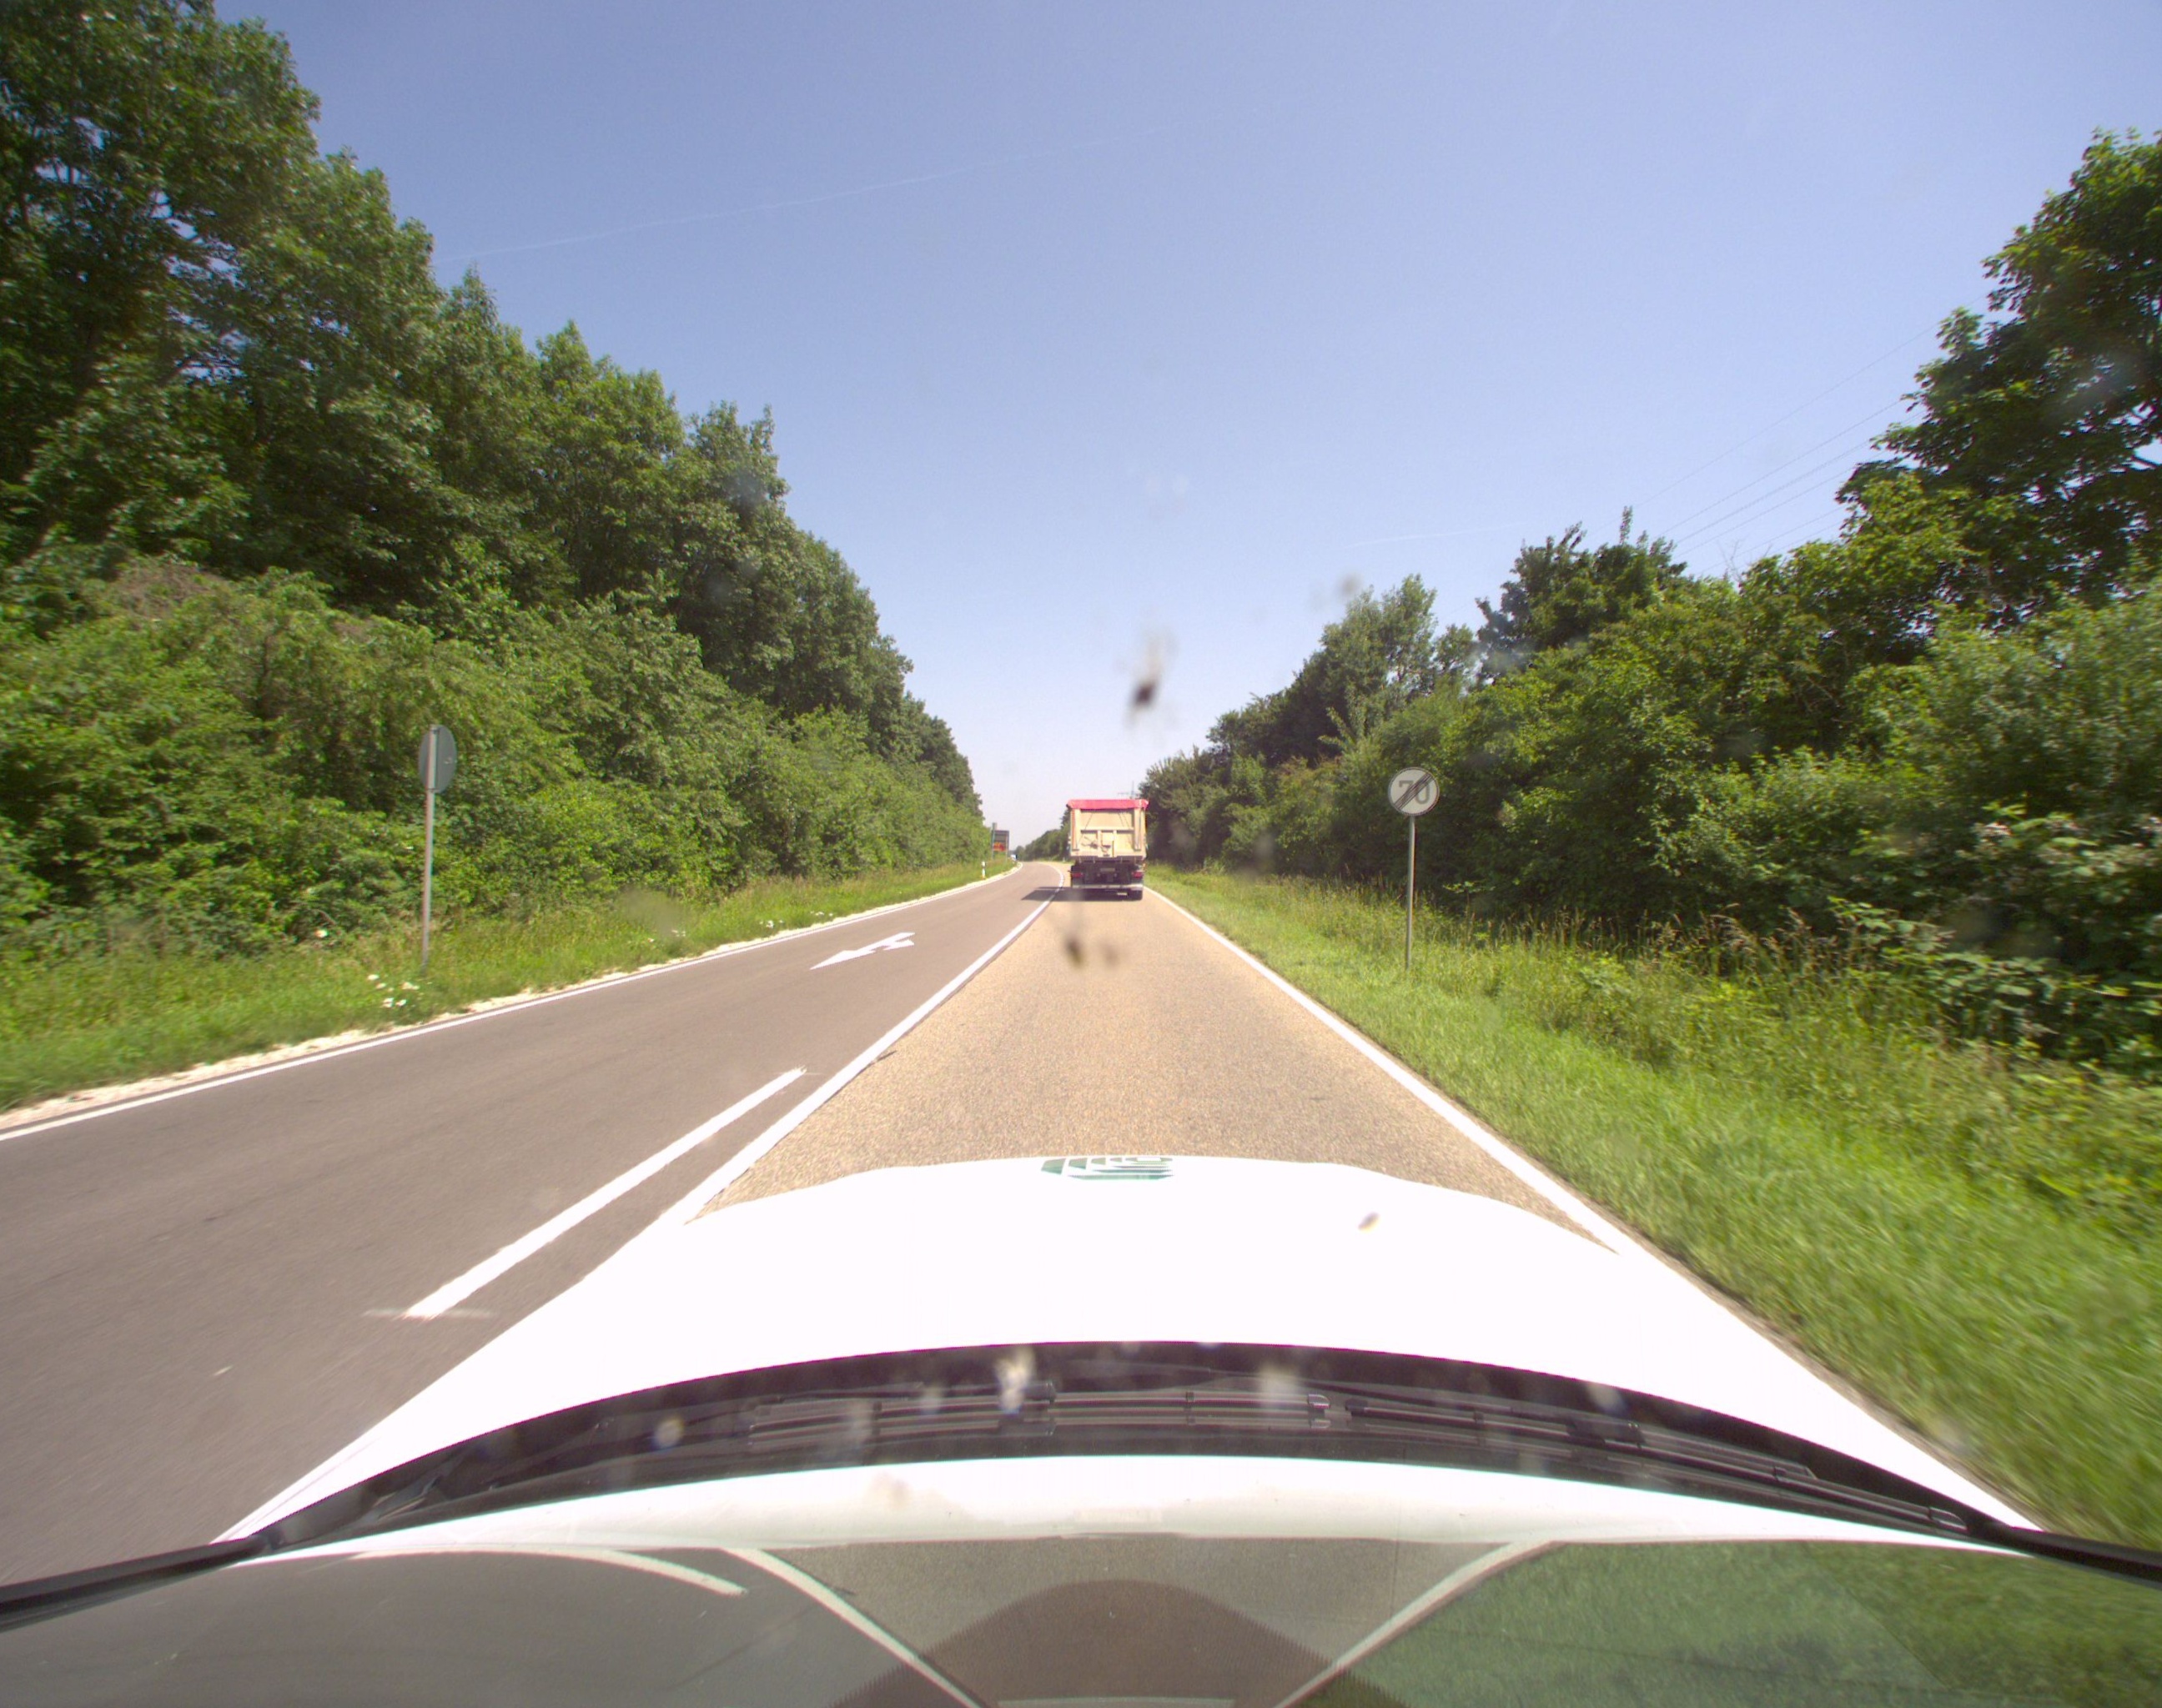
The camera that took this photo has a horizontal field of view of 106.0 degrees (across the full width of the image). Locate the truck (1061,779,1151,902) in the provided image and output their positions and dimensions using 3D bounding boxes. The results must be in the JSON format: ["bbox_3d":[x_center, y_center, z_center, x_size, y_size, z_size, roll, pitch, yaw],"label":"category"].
[{"bbox_3d":[0.862,-0.444,32.224,2.883,3.962,11.932,0,0,0],"label":"truck"}]
